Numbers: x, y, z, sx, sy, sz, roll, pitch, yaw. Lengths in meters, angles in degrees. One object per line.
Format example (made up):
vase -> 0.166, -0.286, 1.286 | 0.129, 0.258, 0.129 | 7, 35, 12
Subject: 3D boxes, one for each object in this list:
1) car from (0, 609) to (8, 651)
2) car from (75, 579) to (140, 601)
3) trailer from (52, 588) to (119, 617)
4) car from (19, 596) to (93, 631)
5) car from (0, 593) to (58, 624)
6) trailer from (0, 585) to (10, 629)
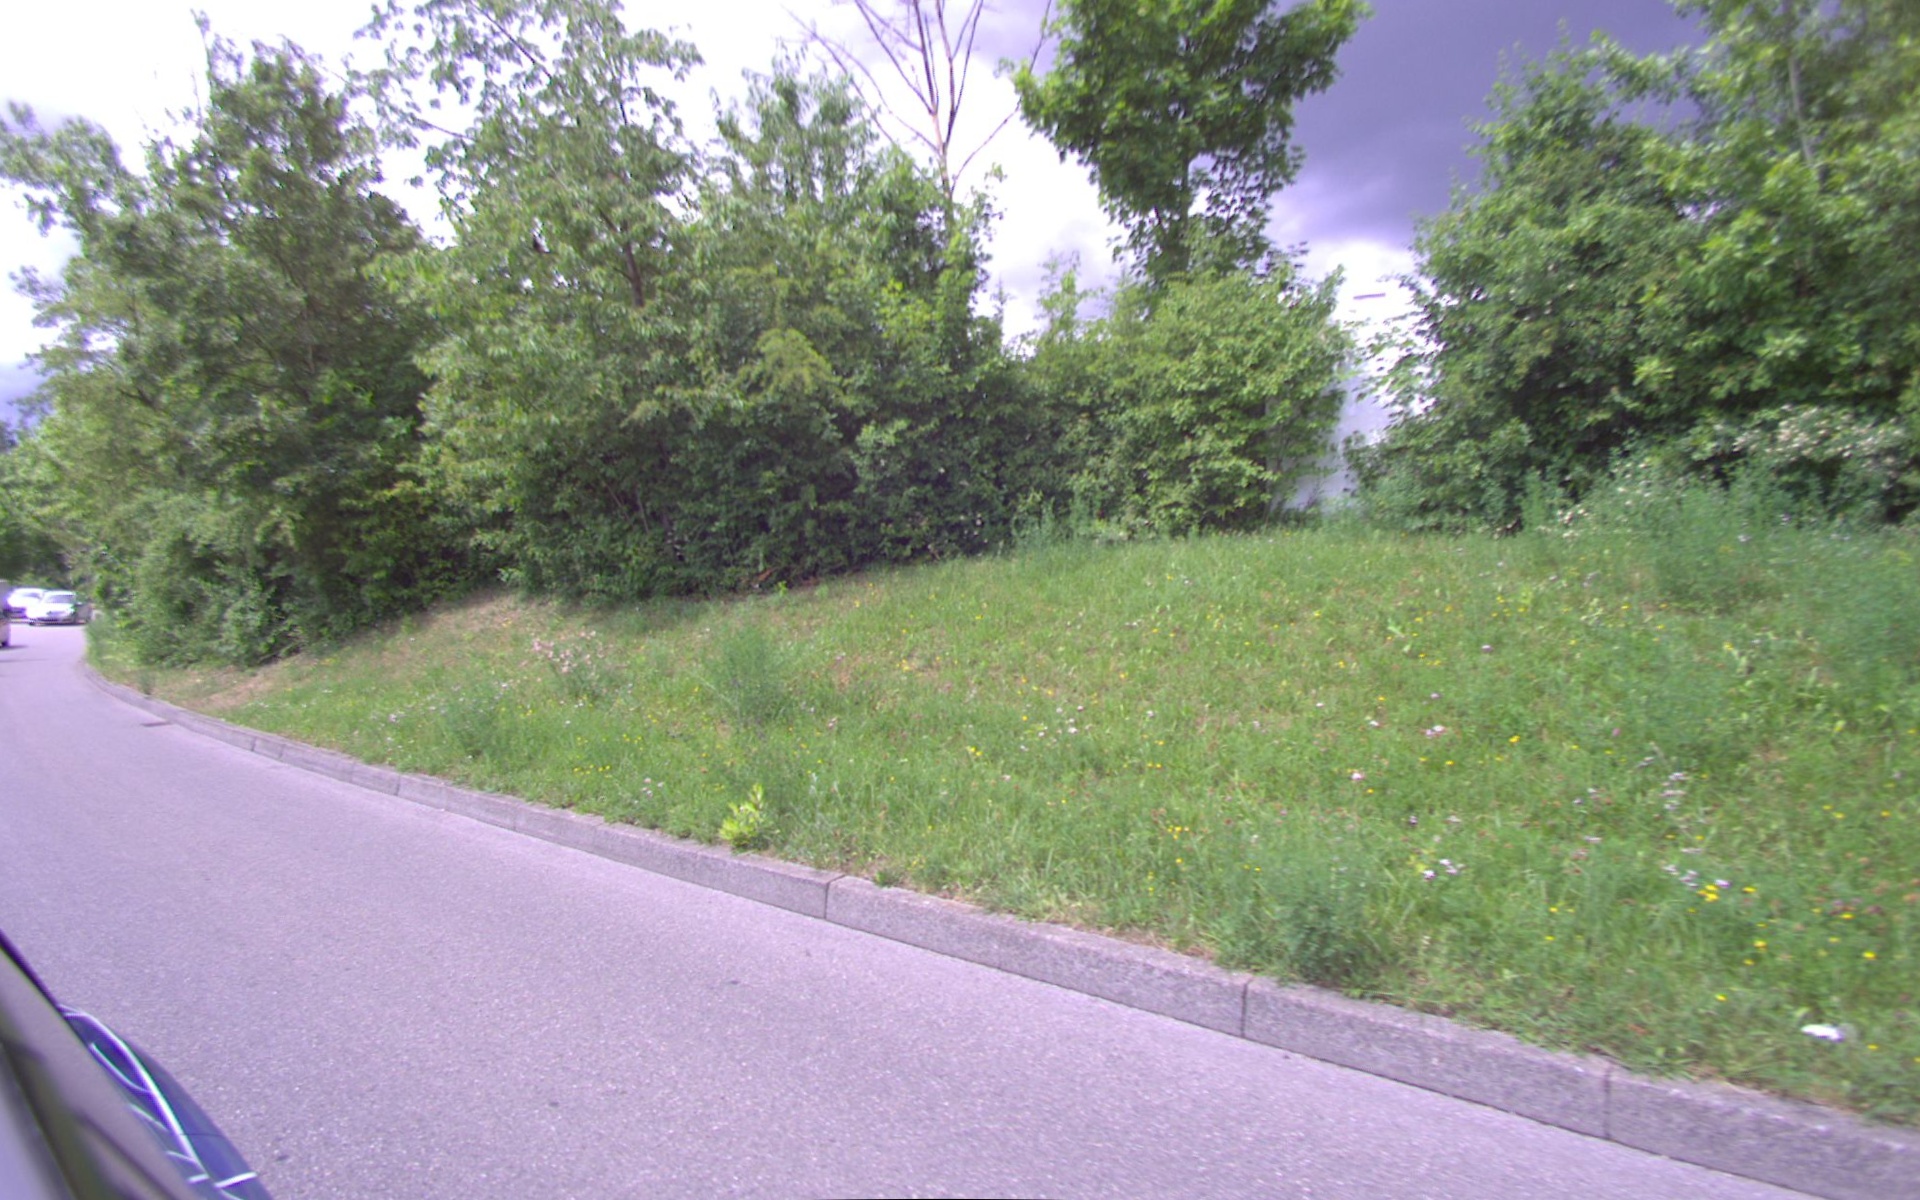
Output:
car -> -33.288, 1.033, 33.764 | 1.768, 1.424, 4.122 | 1, -1, -37
car -> -64.196, -0.769, 76.223 | 3.436, 1.528, 1.653 | 0, 4, -3
trailer -> -53.900, 0.108, 62.470 | 1.784, 1.590, 4.505 | 0, 2, -23
car -> -43.941, 0.612, 49.286 | 1.766, 1.520, 4.126 | -2, 2, -29
car -> -49.746, 0.454, 53.824 | 1.682, 1.488, 3.796 | 0, 2, -27
trailer -> -47.092, 0.362, 48.352 | 1.706, 2.094, 3.795 | 0, 2, -31
